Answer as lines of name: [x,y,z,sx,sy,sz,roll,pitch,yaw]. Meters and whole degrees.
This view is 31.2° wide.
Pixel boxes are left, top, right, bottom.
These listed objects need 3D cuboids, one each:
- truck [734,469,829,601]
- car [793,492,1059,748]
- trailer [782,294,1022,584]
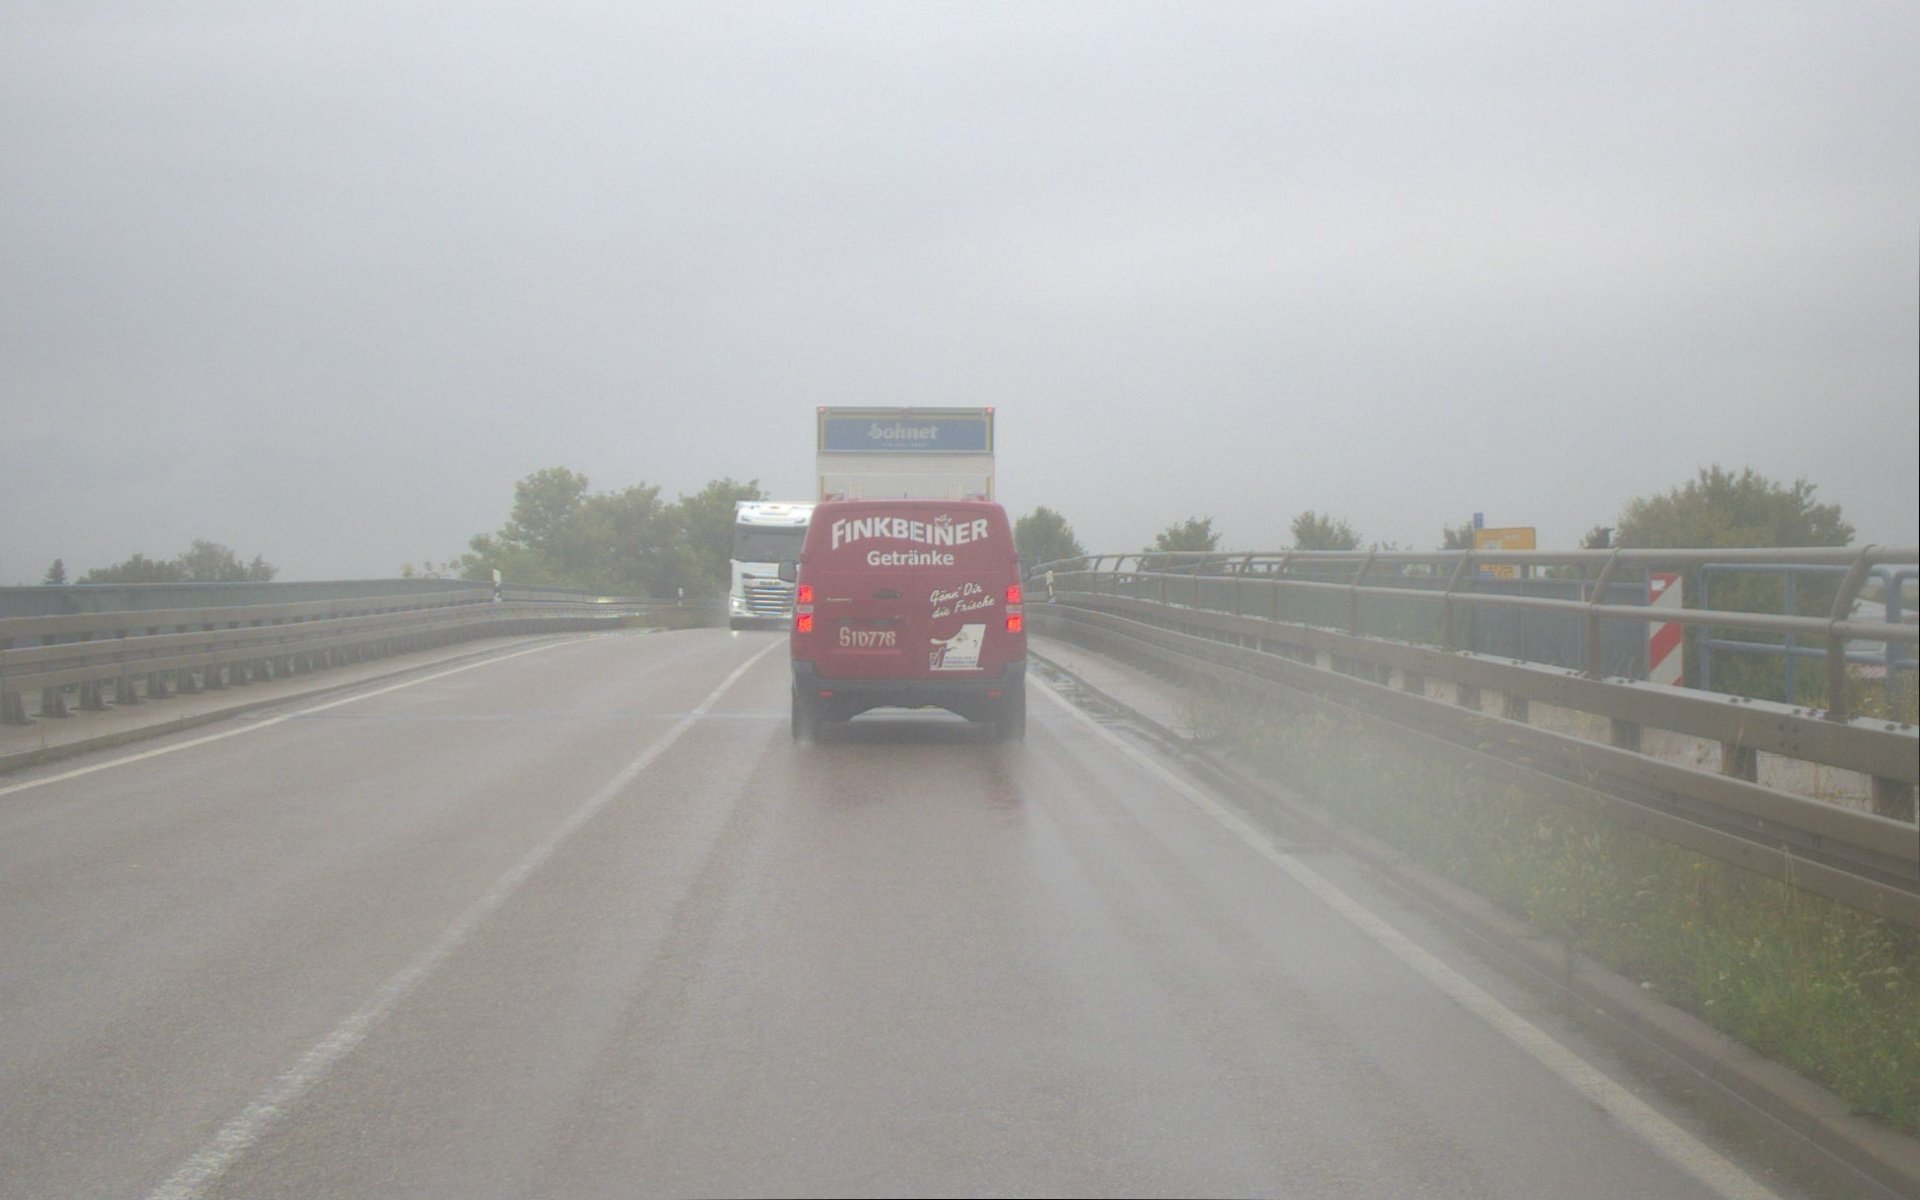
truck: [-5.511,-2.006,107.487,2.817,3.956,8.764,0,1,-2]
car: [-0.335,0.104,28.281,1.993,1.919,4.144,1,1,-2]
trailer: [-0.802,-2.288,52.723,3.201,3.908,8.739,3,0,0]
